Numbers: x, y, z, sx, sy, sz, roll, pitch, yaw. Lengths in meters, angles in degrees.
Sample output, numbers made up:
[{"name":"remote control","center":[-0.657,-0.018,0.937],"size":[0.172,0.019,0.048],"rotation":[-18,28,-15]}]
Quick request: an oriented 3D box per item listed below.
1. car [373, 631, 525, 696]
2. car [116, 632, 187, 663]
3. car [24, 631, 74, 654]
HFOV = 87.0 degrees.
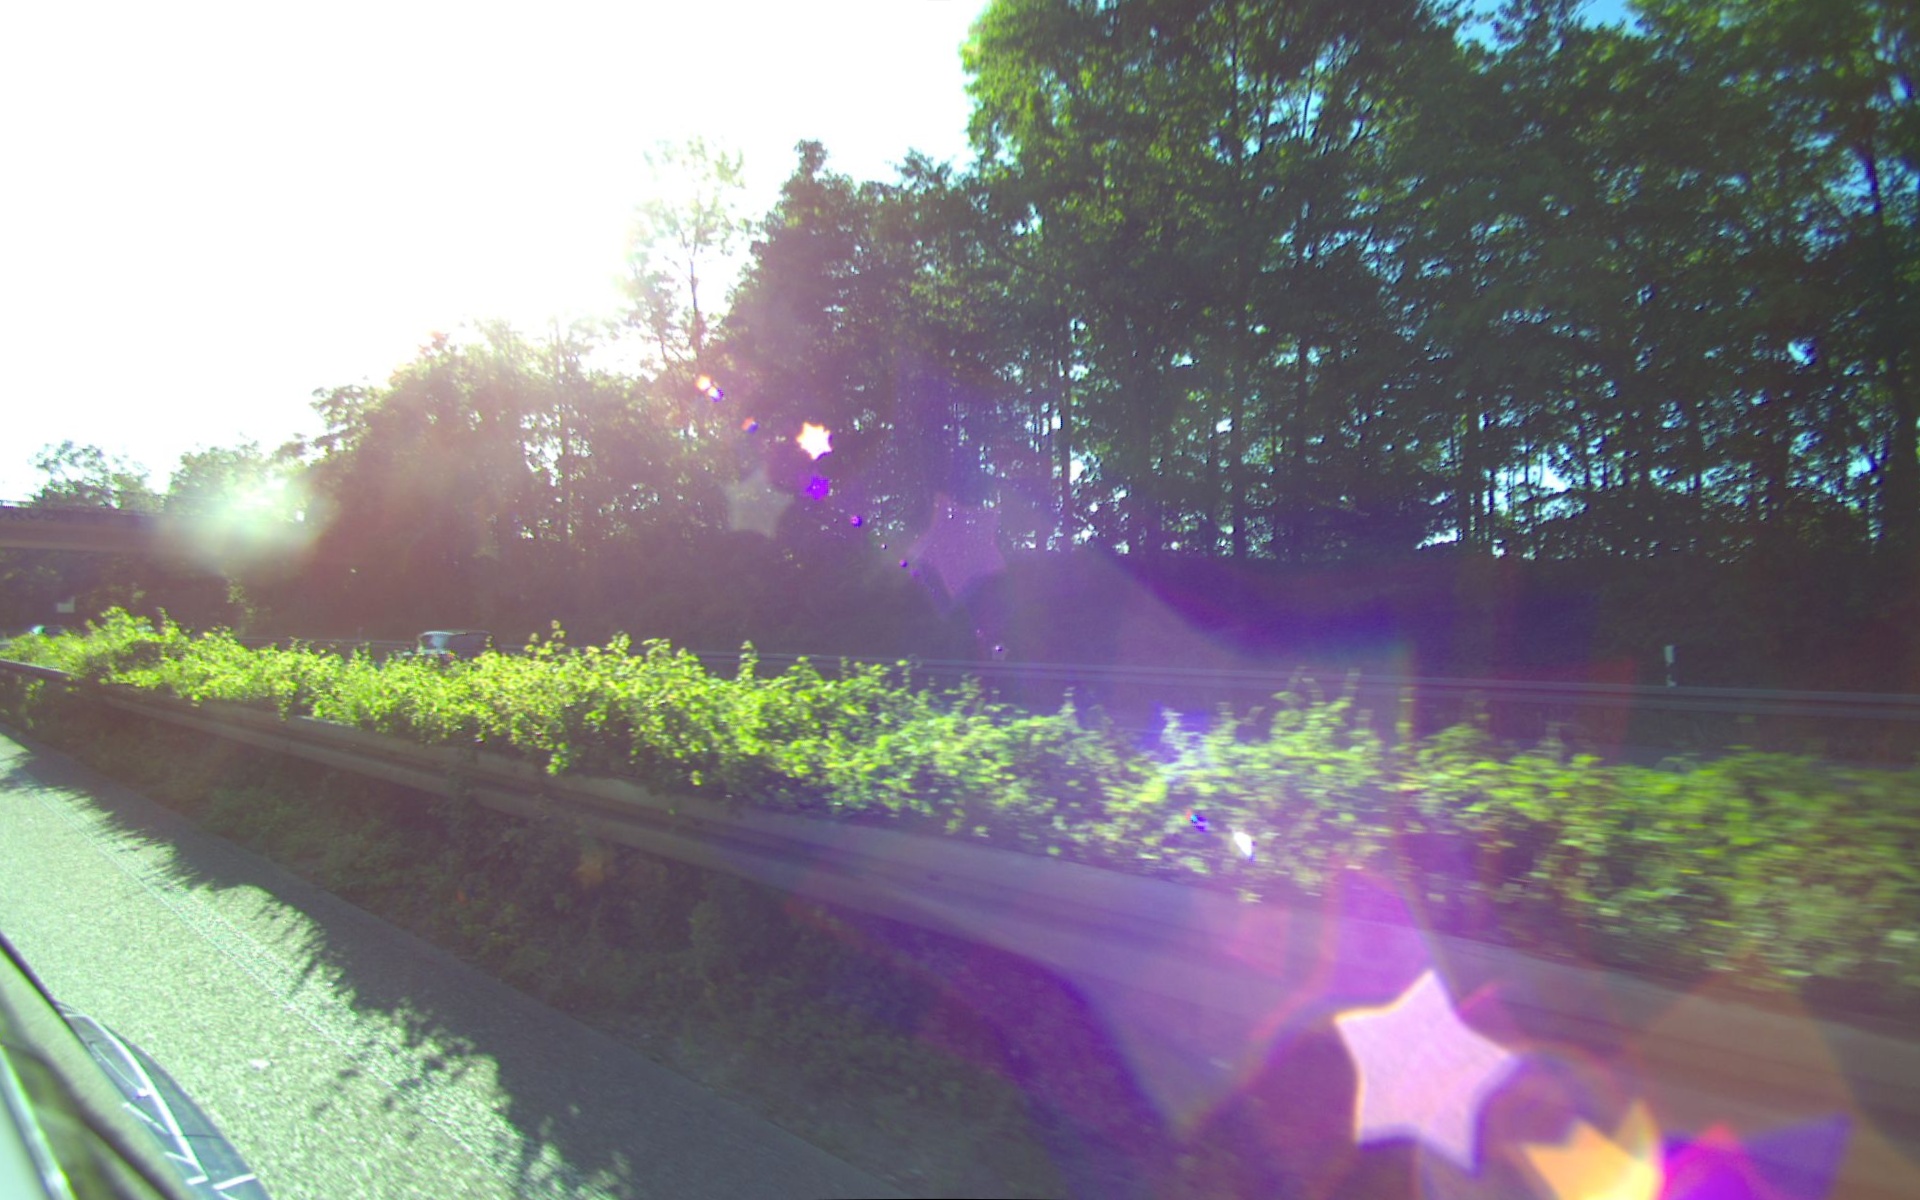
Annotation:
[{"name":"car","center":[-13.182,1.563,26.004],"size":[4.322,1.461,1.941],"rotation":[-2,-1,40]},{"name":"car","center":[-40.654,2.347,50.871],"size":[4.580,1.461,1.941],"rotation":[-2,-1,40]},{"name":"car","center":[-62.288,2.887,69.204],"size":[4.703,1.461,1.941],"rotation":[-1,-1,40]}]
